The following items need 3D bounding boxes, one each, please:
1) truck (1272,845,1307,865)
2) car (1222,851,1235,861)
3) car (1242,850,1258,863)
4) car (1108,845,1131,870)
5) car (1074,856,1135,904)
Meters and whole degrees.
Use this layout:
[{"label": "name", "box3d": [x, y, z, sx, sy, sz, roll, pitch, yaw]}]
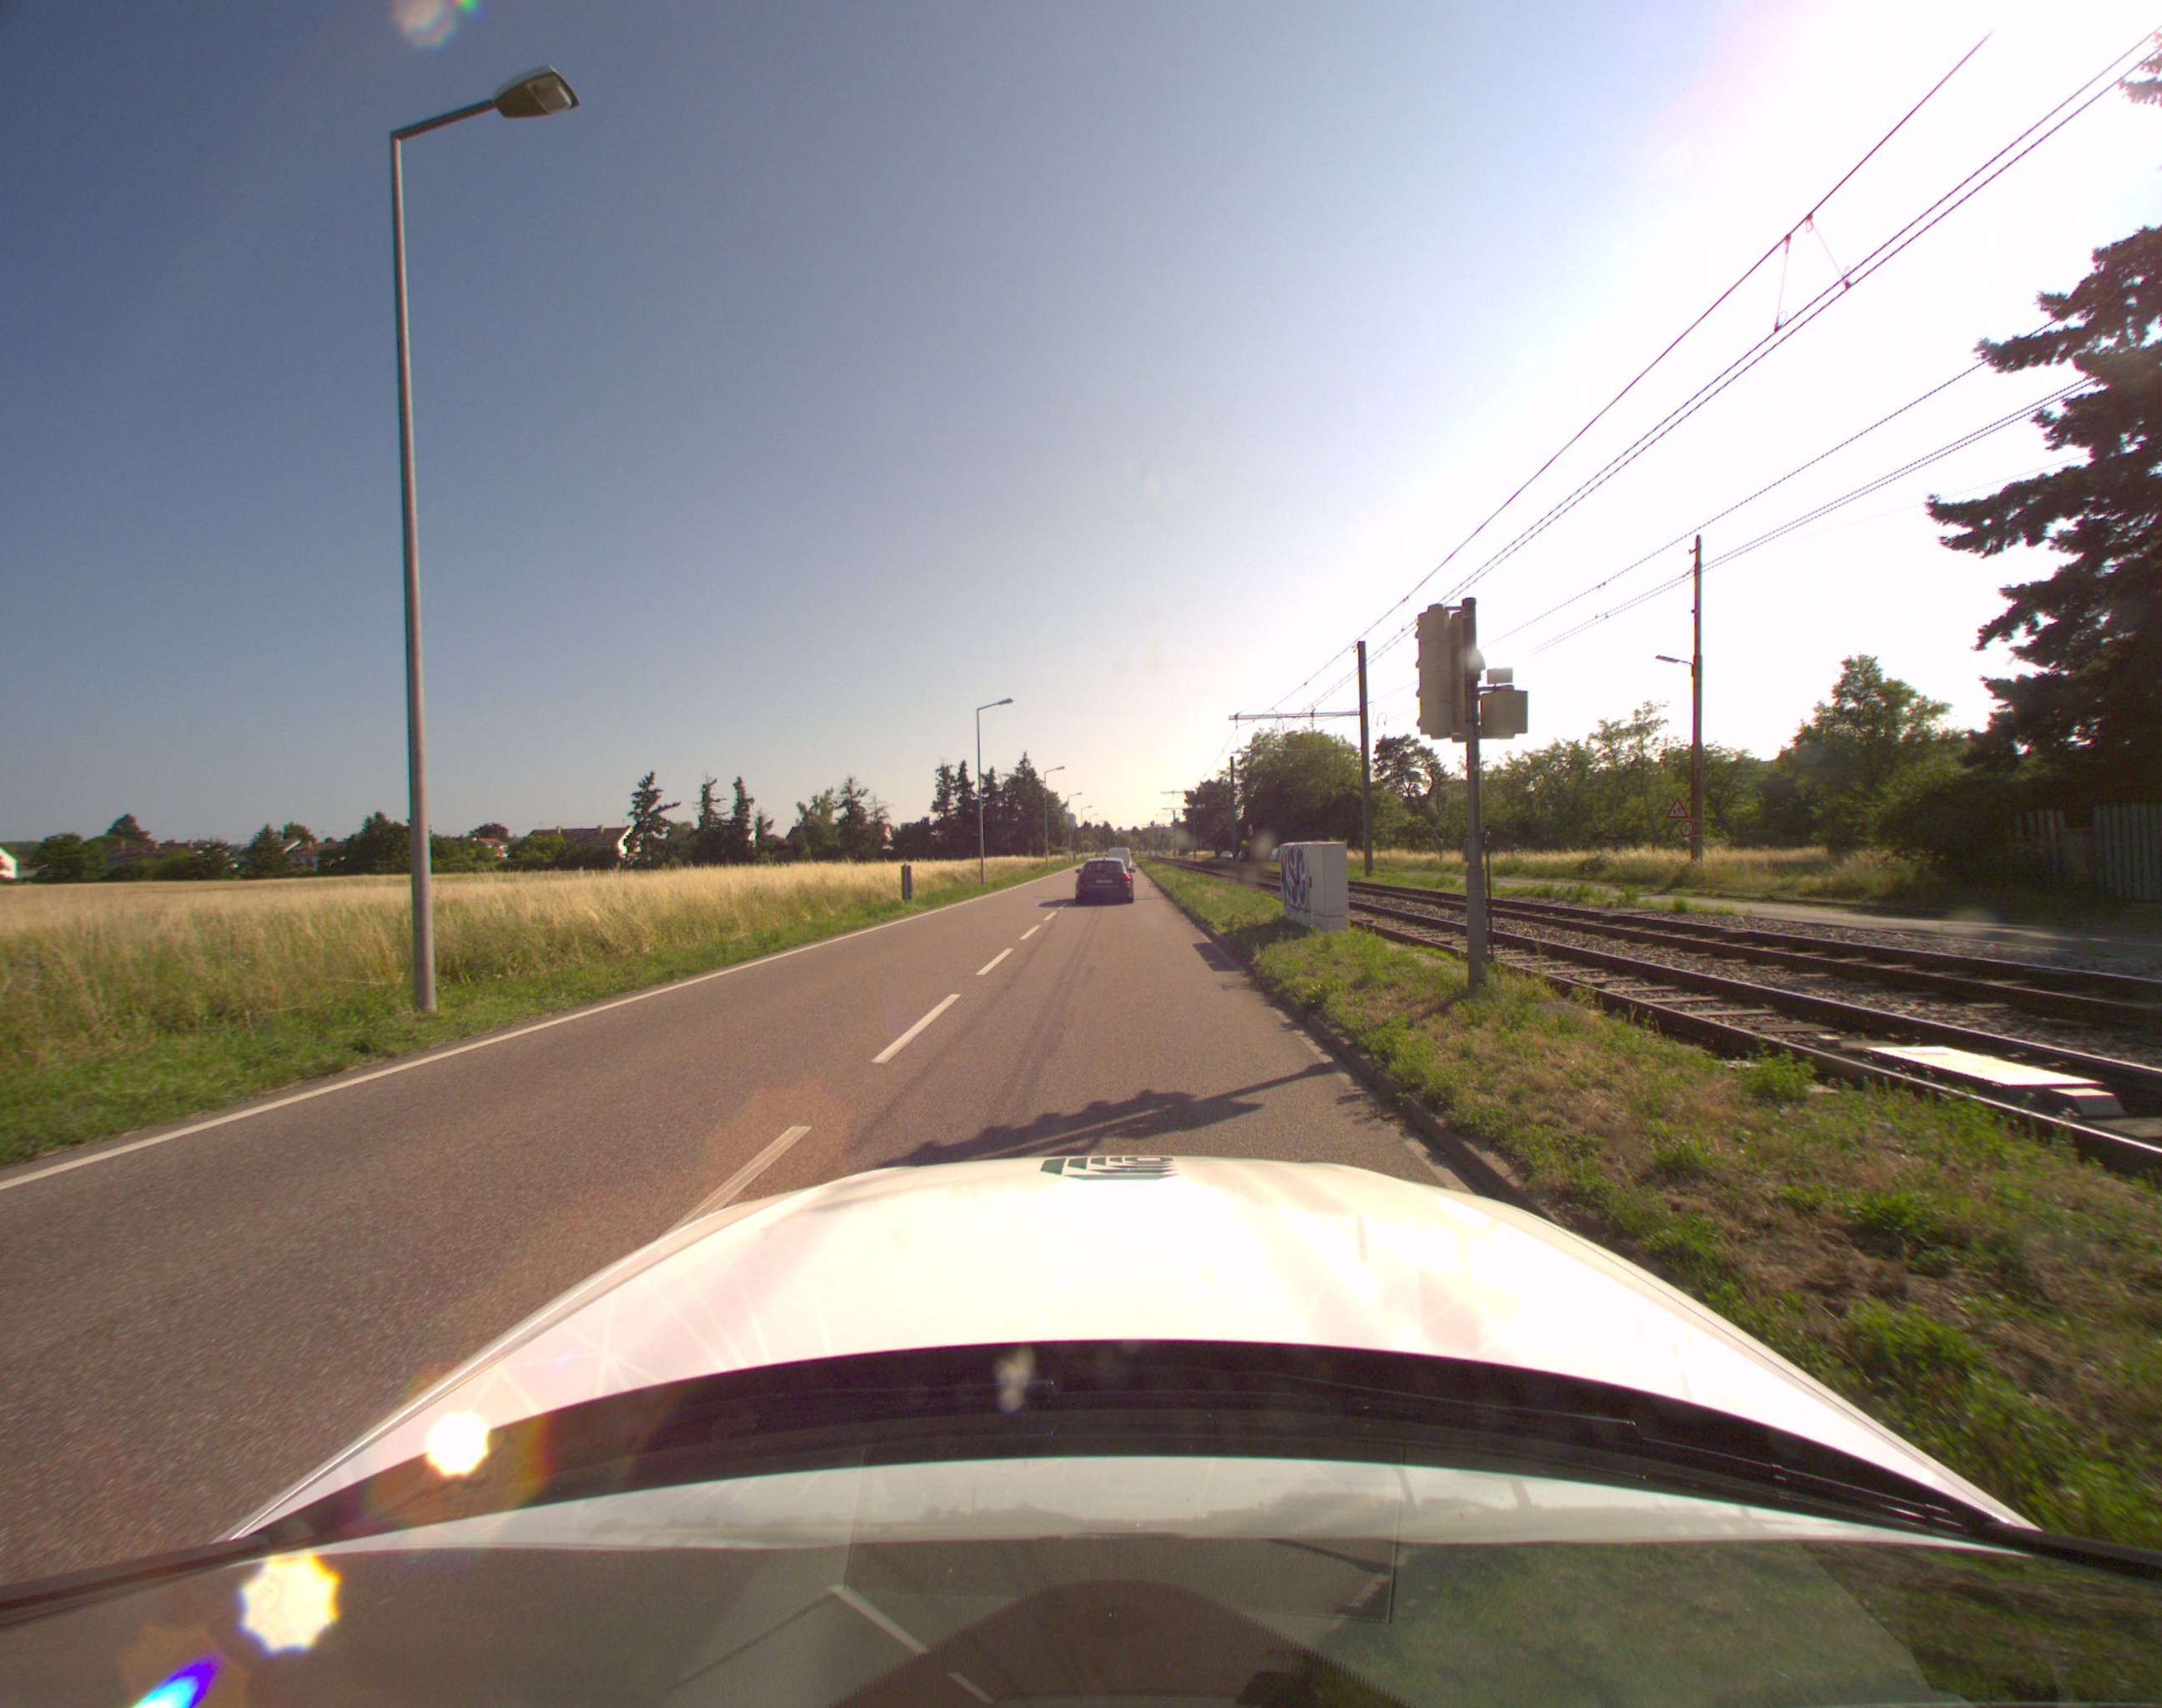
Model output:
[{"label": "truck", "box3d": [20.346, 0.121, 79.746, 2.195, 1.819, 5.933, -1, 0, 3]}, {"label": "car", "box3d": [22.720, 0.336, 125.830, 1.614, 1.398, 3.492, 0, -1, 3]}, {"label": "car", "box3d": [22.365, 0.360, 107.823, 1.726, 1.679, 3.549, 0, -1, 6]}, {"label": "car", "box3d": [3.177, 0.265, 67.900, 1.851, 1.988, 5.110, 0, 0, 1]}, {"label": "car", "box3d": [0.863, 0.800, 27.350, 1.861, 1.452, 4.747, 0, 0, 3]}]
